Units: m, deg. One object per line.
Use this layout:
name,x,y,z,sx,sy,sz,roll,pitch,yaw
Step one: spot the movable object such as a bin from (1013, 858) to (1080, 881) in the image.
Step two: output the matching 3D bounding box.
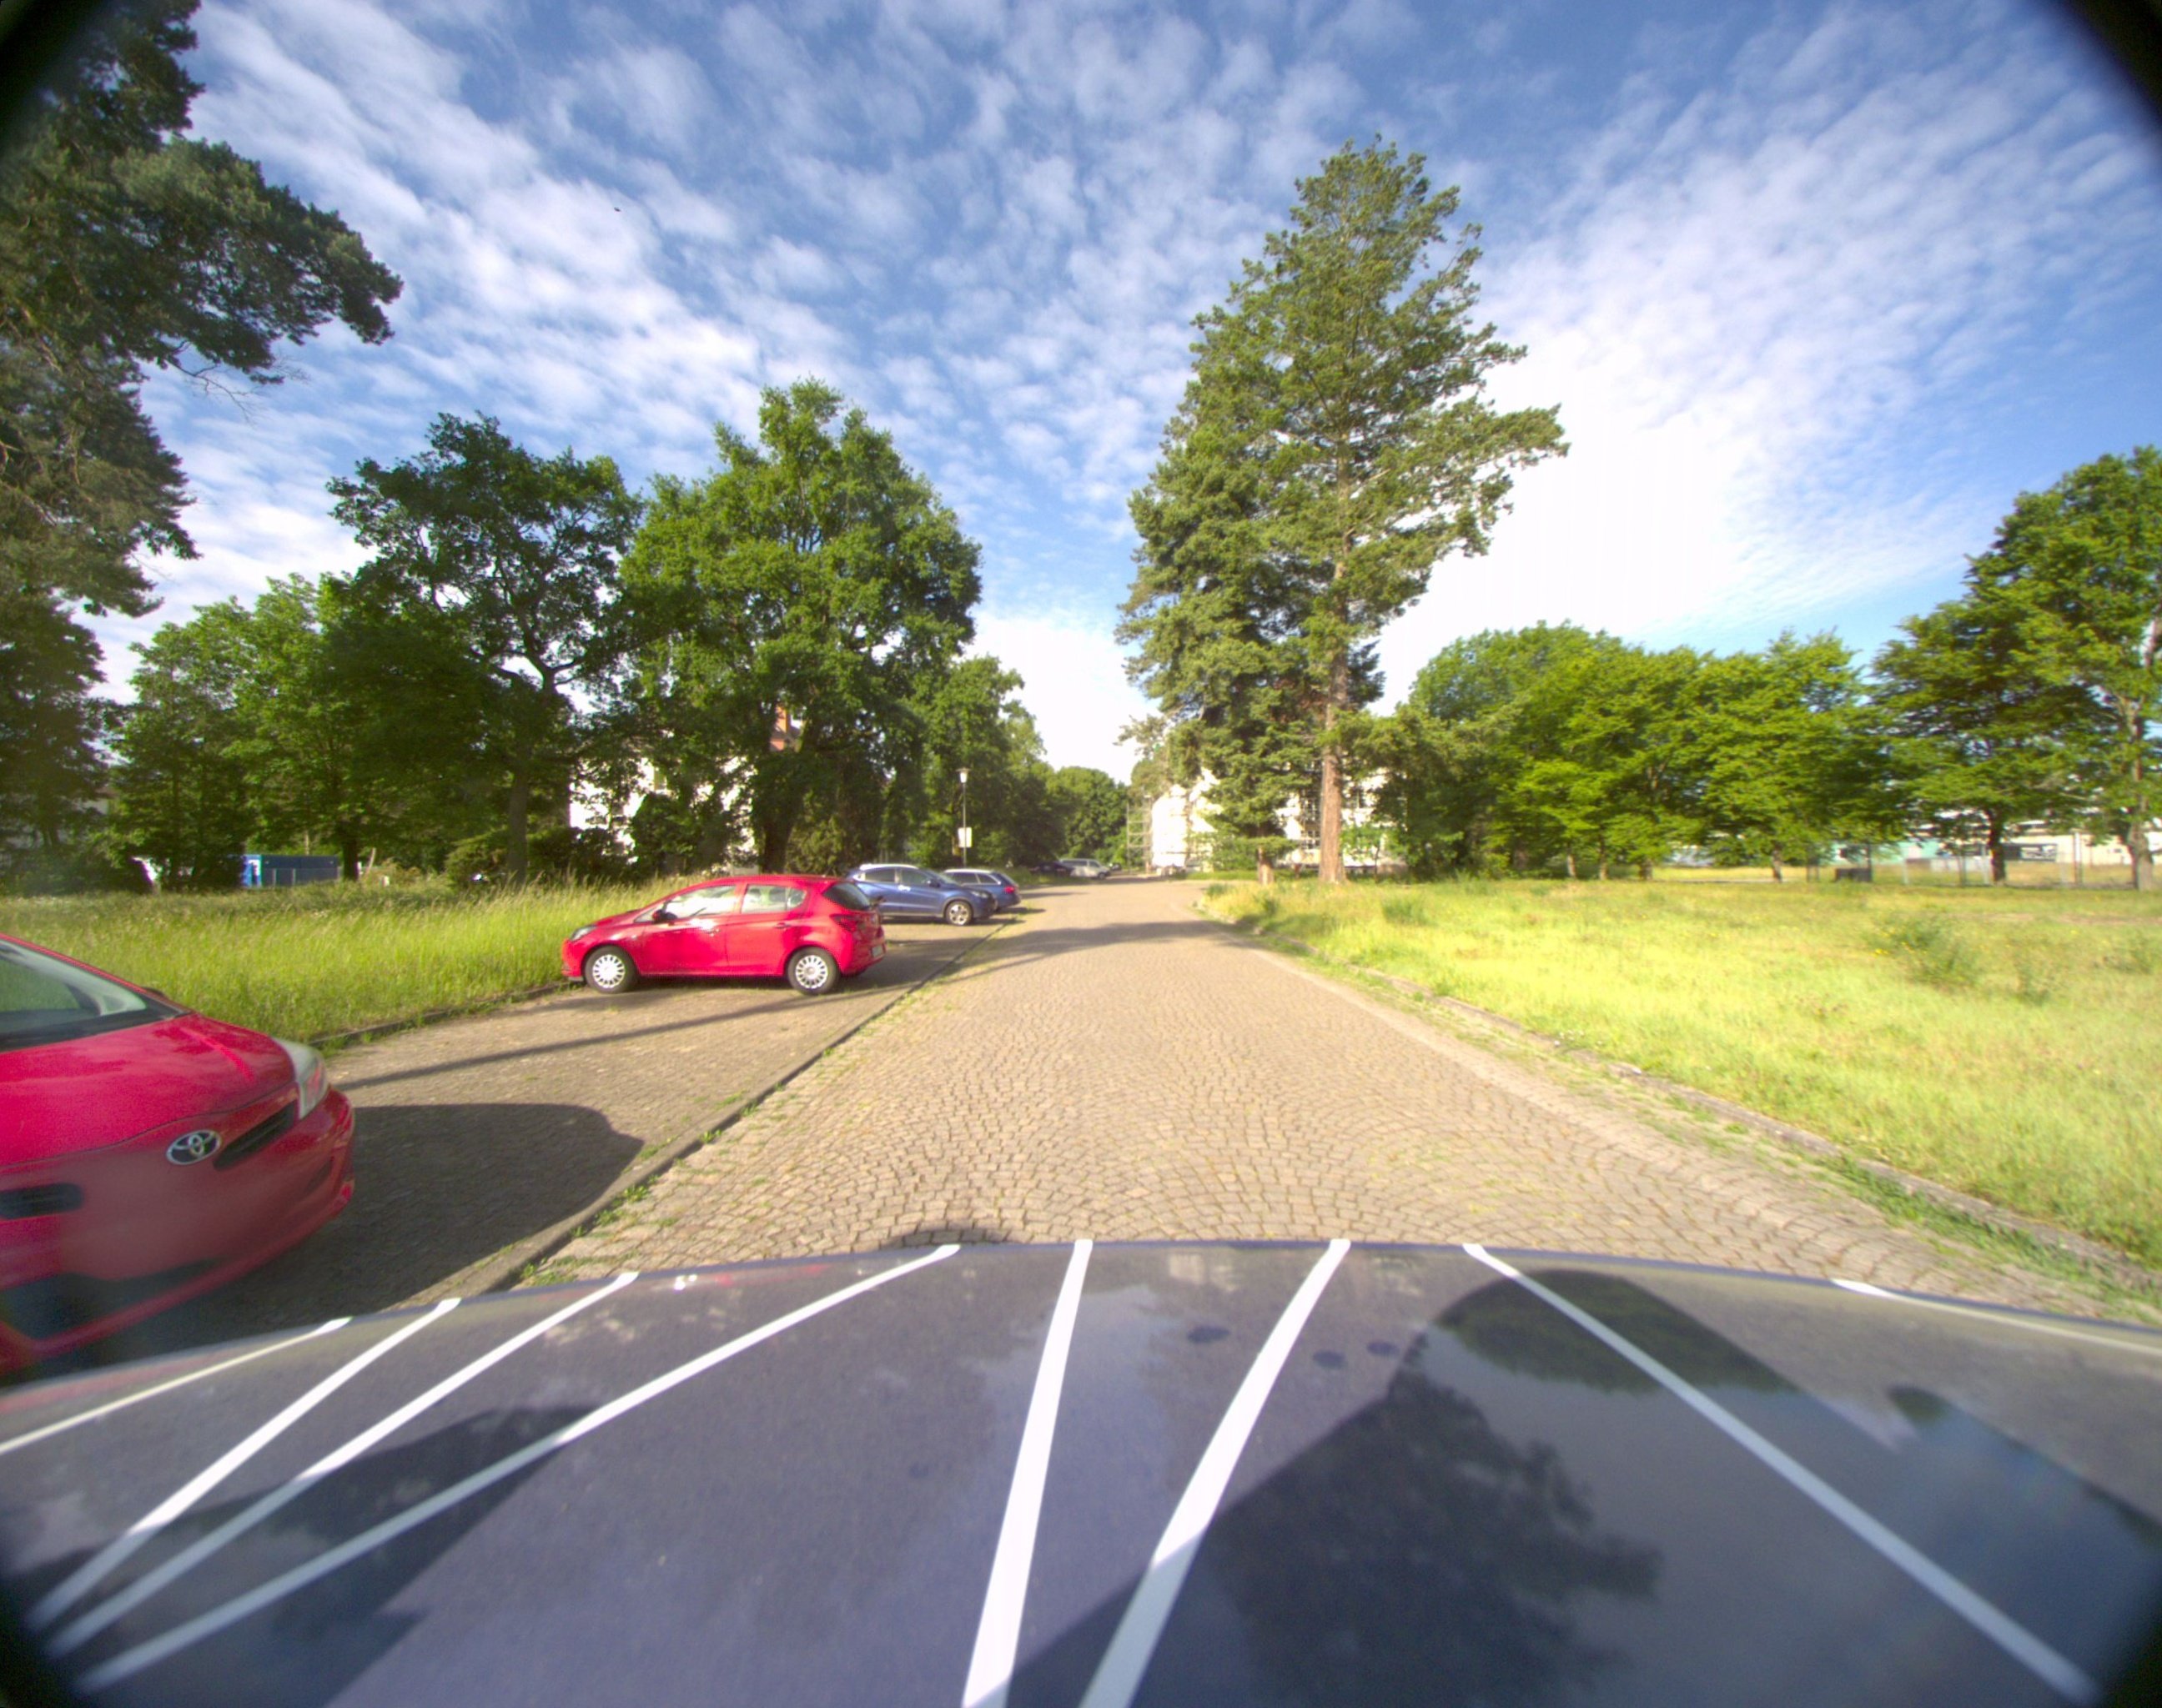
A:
movable object such as a bin,-2.753,1.206,60.870,4.931,1.749,2.002,-1,0,15

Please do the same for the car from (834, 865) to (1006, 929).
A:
car,-4.203,1.120,20.328,4.187,1.581,1.751,-1,0,0

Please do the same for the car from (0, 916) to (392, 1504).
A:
car,-4.845,1.045,2.441,3.771,1.521,1.645,-1,0,1

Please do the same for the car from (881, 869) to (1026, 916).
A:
car,-4.144,1.251,25.102,4.459,1.399,1.714,1,0,4

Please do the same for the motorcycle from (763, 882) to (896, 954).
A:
motorcycle,-4.788,1.213,14.580,2.305,1.312,0.726,0,0,0

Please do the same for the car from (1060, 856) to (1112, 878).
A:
car,0.529,1.259,73.694,4.936,2.002,2.000,-1,0,1

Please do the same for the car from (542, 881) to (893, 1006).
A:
car,-4.599,1.116,10.027,3.837,1.470,1.645,0,0,-1
